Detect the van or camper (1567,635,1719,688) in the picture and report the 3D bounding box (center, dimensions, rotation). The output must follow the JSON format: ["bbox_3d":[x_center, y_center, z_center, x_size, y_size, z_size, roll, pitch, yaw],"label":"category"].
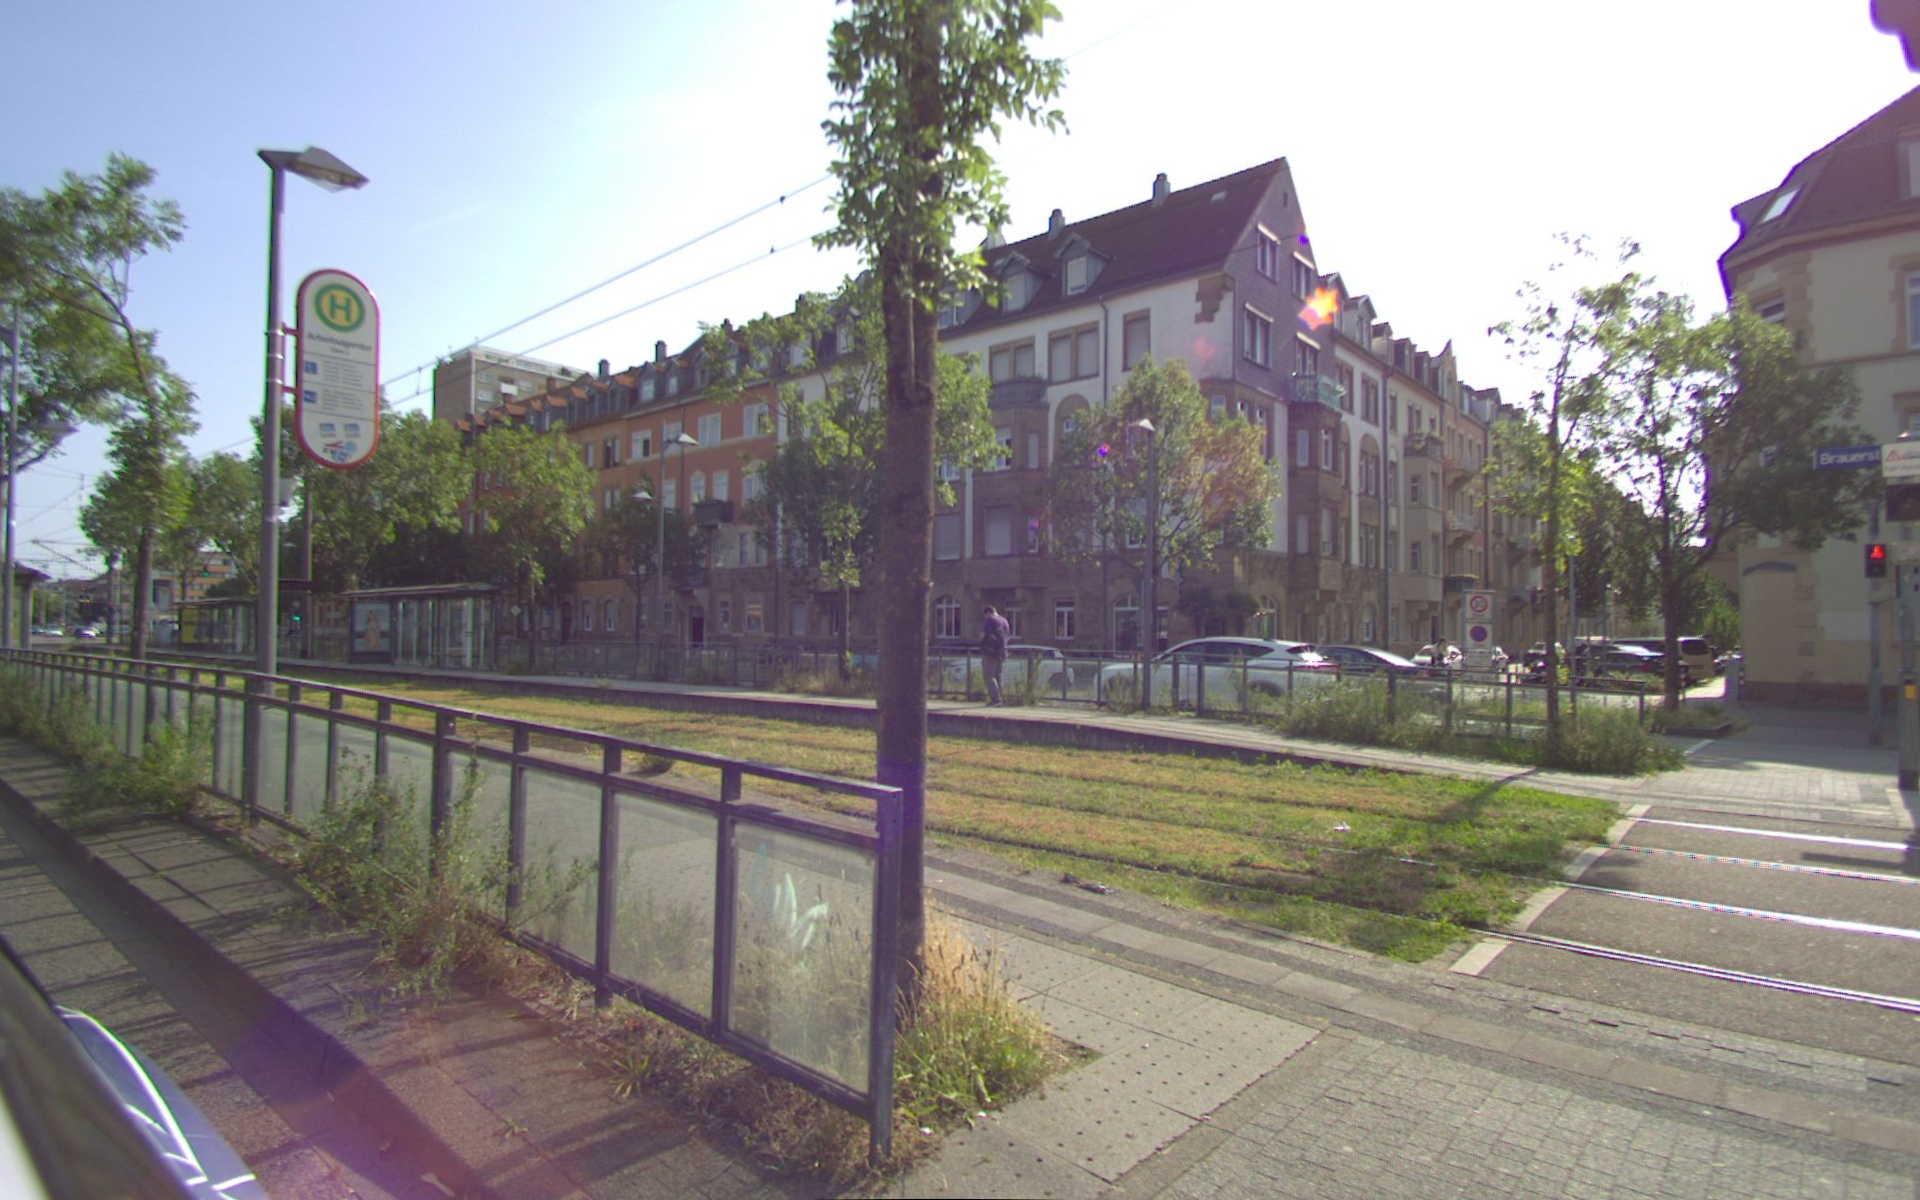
[{"bbox_3d":[27.112,2.405,40.407,1.746,1.936,5.089,2,-2,-16],"label":"van or camper"}]

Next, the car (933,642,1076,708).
[{"bbox_3d":[1.327,2.248,30.971,3.933,1.739,2.006,-1,0,-15],"label":"car"}]

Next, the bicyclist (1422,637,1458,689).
[{"bbox_3d":[15.114,1.969,31.877,0.848,1.570,0.891,-1,0,37],"label":"bicyclist"}]

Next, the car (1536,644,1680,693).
[{"bbox_3d":[22.351,2.312,34.980,3.998,1.526,1.650,-1,-3,41],"label":"car"}]

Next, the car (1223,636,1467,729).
[{"bbox_3d":[7.208,1.485,19.164,3.998,1.526,1.650,-1,-3,41],"label":"car"}]

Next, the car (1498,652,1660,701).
[{"bbox_3d":[18.766,2.270,30.777,3.998,1.309,1.650,-1,-3,41],"label":"car"}]

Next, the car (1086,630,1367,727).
[{"bbox_3d":[4.536,1.288,17.610,4.422,1.451,1.753,-1,-4,41],"label":"car"}]

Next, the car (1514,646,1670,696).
[{"bbox_3d":[20.008,2.208,32.129,3.998,1.423,1.650,-1,-3,41],"label":"car"}]

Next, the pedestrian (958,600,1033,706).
[{"bbox_3d":[0.582,0.858,16.593,0.852,1.667,0.874,-1,-3,41],"label":"pedestrian"}]

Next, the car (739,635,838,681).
[{"bbox_3d":[-6.984,2.295,41.001,3.998,1.632,1.882,-1,0,41],"label":"car"}]

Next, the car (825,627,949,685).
[{"bbox_3d":[-2.531,1.875,34.693,3.933,1.739,2.006,-1,0,-15],"label":"car"}]
